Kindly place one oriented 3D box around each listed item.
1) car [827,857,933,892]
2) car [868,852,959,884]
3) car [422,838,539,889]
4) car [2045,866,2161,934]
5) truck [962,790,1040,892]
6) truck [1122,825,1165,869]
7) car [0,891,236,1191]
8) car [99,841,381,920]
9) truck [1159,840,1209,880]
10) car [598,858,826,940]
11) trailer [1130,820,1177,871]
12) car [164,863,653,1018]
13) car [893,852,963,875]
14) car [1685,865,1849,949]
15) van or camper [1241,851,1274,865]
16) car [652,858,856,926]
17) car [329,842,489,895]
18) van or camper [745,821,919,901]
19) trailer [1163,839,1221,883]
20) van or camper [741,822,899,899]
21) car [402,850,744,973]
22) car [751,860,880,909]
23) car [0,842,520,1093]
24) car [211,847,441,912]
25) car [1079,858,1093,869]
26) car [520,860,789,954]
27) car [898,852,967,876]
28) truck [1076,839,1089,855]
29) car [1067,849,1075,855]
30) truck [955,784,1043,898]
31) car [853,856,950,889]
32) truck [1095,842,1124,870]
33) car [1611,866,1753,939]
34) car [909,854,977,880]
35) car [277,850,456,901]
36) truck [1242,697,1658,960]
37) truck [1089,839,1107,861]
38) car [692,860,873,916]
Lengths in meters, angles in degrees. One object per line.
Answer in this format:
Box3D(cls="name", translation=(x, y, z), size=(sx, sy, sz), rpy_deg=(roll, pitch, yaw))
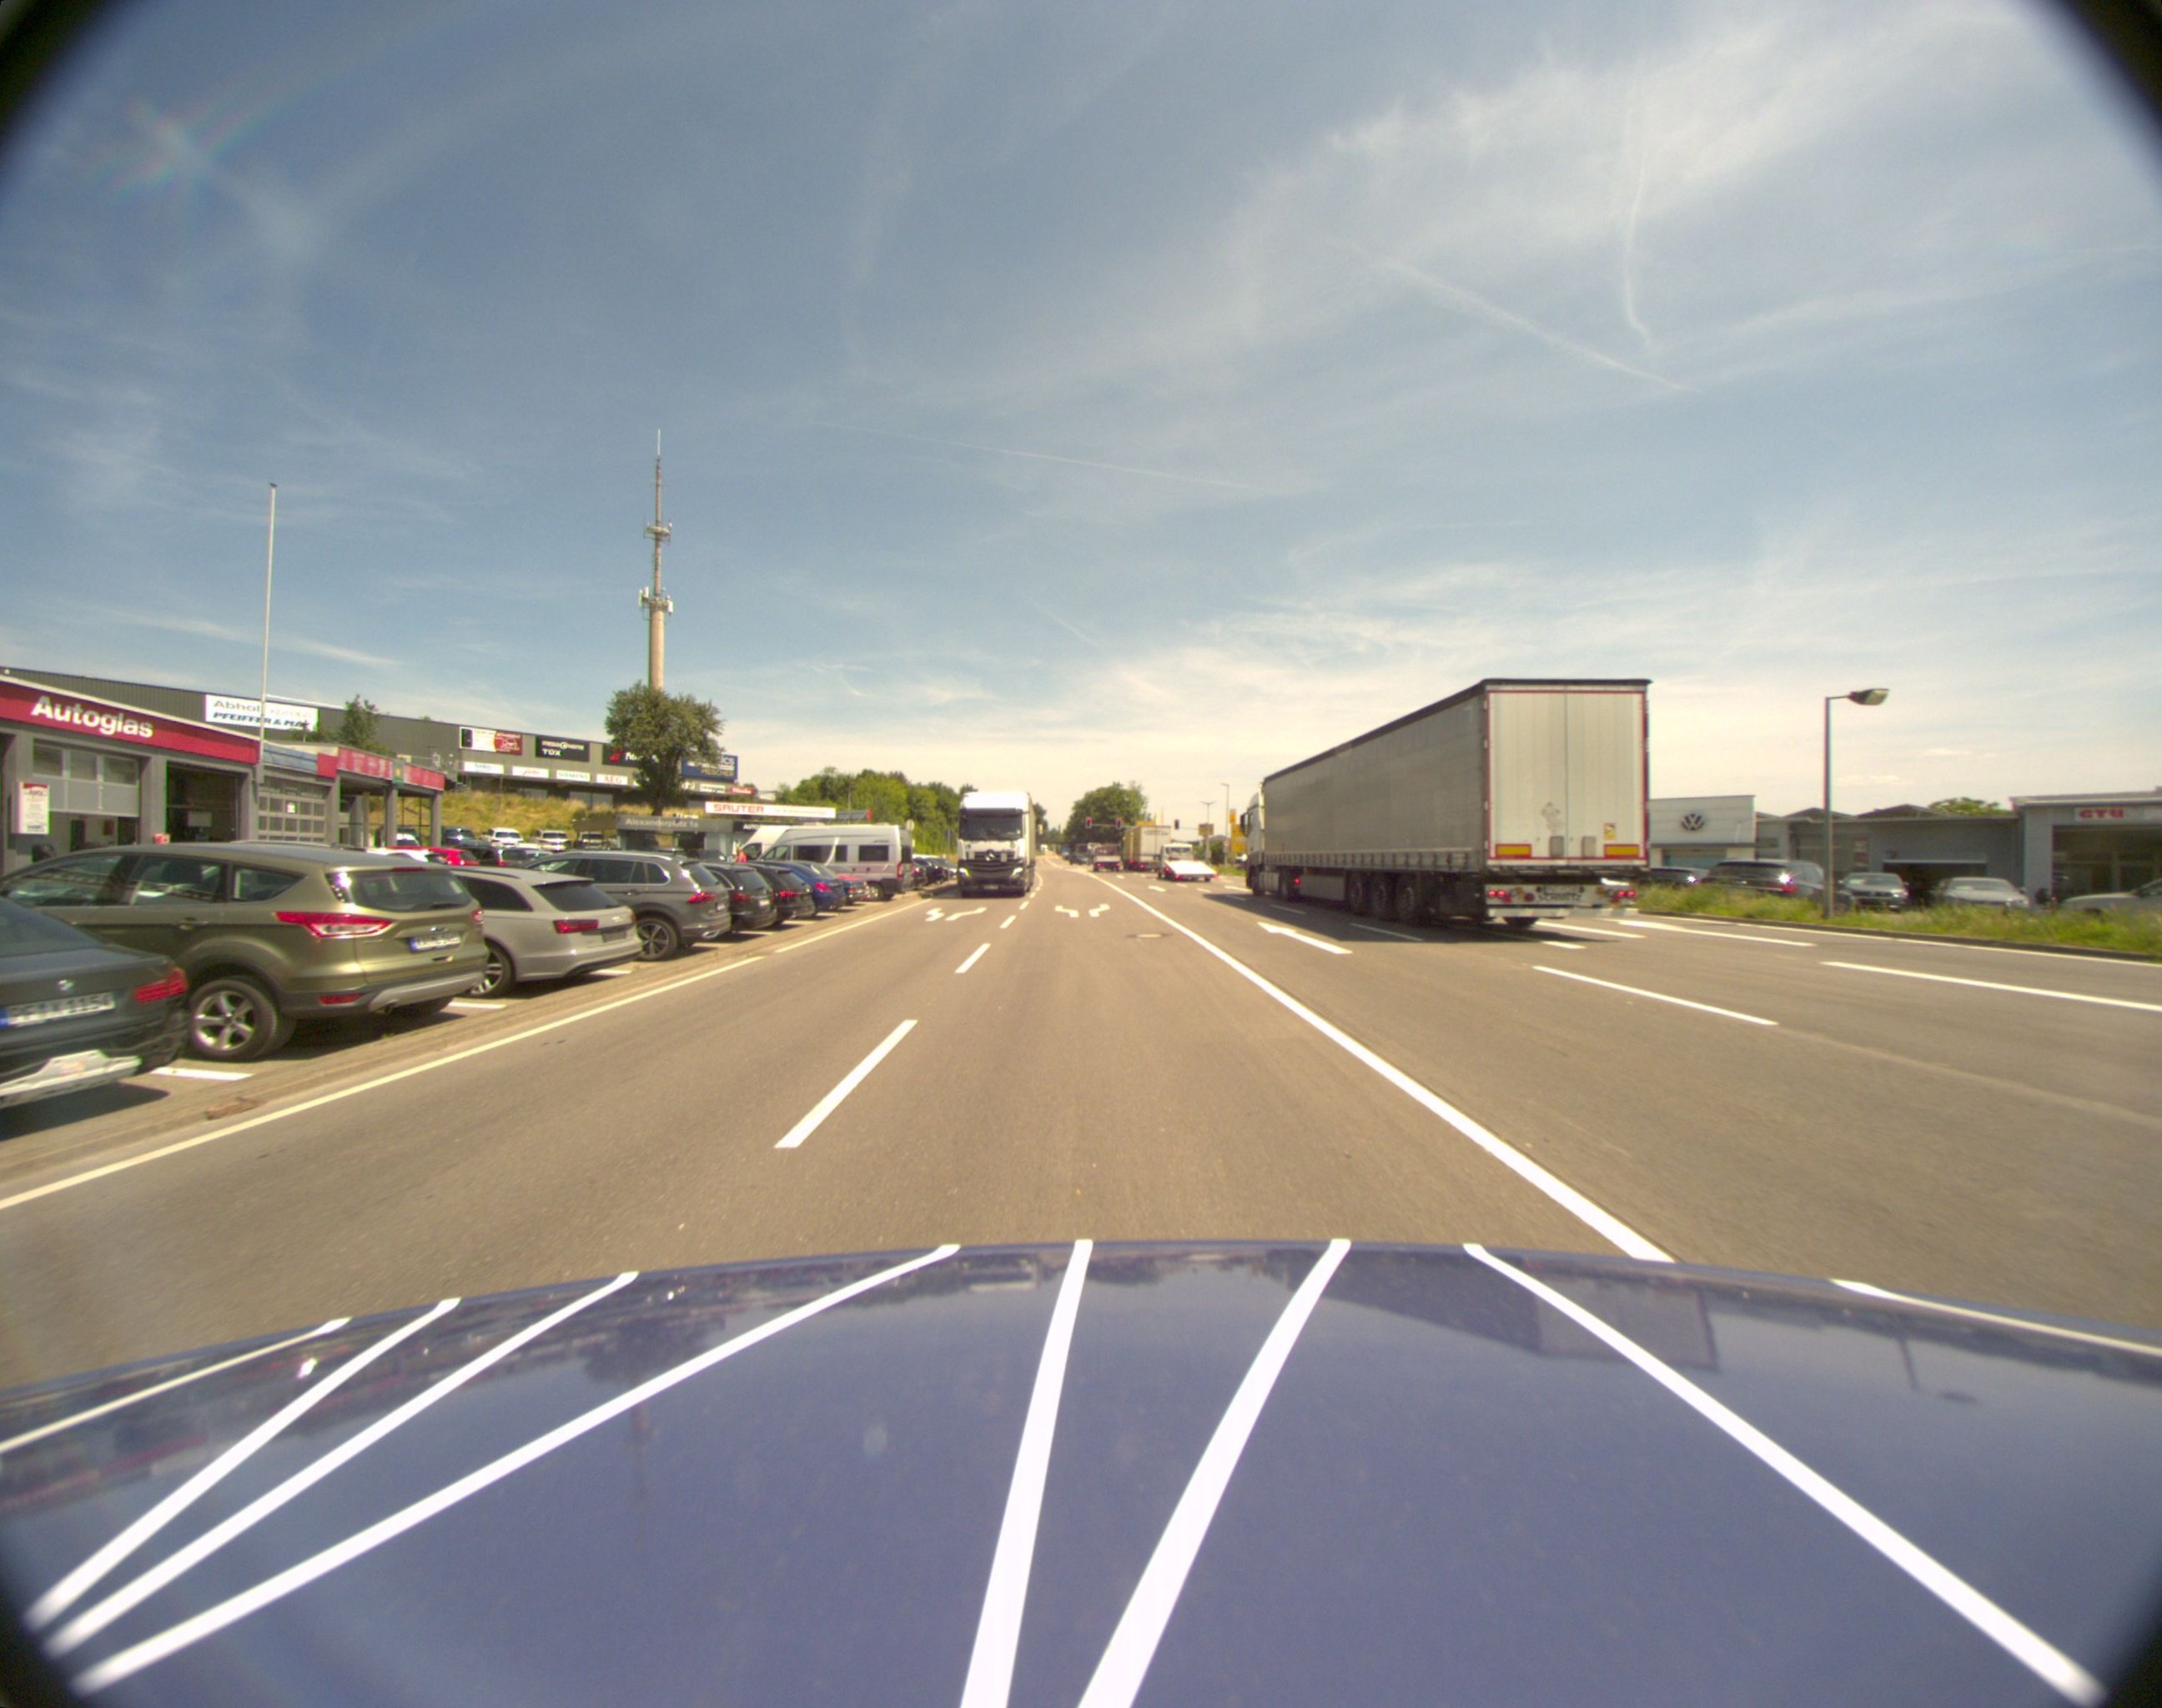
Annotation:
Box3D(cls="car", translation=(-9.115, 0.916, 34.775), size=(4.338, 1.490, 2.080), rpy_deg=(-1, 0, -4))
Box3D(cls="car", translation=(-8.950, 0.743, 40.725), size=(4.347, 1.615, 2.057), rpy_deg=(1, 0, -29))
Box3D(cls="car", translation=(-25.944, 0.400, 32.919), size=(3.596, 1.575, 1.674), rpy_deg=(5, 14, 3))
Box3D(cls="car", translation=(25.170, 1.047, 16.780), size=(1.999, 1.455, 4.457), rpy_deg=(-1, 0, -3))
Box3D(cls="truck", translation=(-3.760, -0.509, 37.422), size=(2.982, 3.986, 14.116), rpy_deg=(2, 0, -5))
Box3D(cls="truck", translation=(6.042, -0.671, 75.271), size=(3.037, 4.081, 10.352), rpy_deg=(0, 0, -2))
Box3D(cls="car", translation=(-7.659, 0.973, 4.282), size=(3.536, 1.469, 1.832), rpy_deg=(5, 0, -3))
Box3D(cls="car", translation=(-19.335, 0.571, 17.752), size=(4.005, 1.678, 1.851), rpy_deg=(0, 0, -24))
Box3D(cls="truck", translation=(6.481, 0.372, 48.436), size=(2.431, 2.327, 5.675), rpy_deg=(2, 0, 1))
Box3D(cls="car", translation=(-8.015, 0.952, 16.848), size=(4.022, 1.473, 1.978), rpy_deg=(3, 0, -4))
Box3D(cls="trailer", translation=(6.387, -0.708, 68.382), size=(3.019, 4.262, 10.056), rpy_deg=(0, 0, -1))
Box3D(cls="car", translation=(-7.833, 0.970, 9.223), size=(4.147, 1.414, 1.792), rpy_deg=(4, 0, -4))
Box3D(cls="car", translation=(-11.503, 0.753, 57.397), size=(4.750, 1.543, 1.994), rpy_deg=(3, -1, -42))
Box3D(cls="car", translation=(15.582, 1.104, 17.228), size=(3.875, 1.677, 1.796), rpy_deg=(0, 0, -33))
Box3D(cls="van or camper", translation=(31.423, 0.674, 135.316), size=(5.468, 2.398, 2.096), rpy_deg=(0, 0, -6))
Box3D(cls="car", translation=(-8.256, 0.931, 19.540), size=(4.277, 1.405, 2.162), rpy_deg=(3, 0, -4))
Box3D(cls="car", translation=(-22.582, 0.434, 25.726), size=(3.604, 1.443, 1.672), rpy_deg=(-1, 9, -22))
Box3D(cls="van or camper", translation=(-8.845, 0.242, 27.369), size=(5.489, 2.714, 2.232), rpy_deg=(0, 0, 0))
Box3D(cls="trailer", translation=(6.416, 0.376, 44.728), size=(2.434, 2.325, 6.896), rpy_deg=(2, 0, 1))
Box3D(cls="van or camper", translation=(-10.111, 0.246, 29.769), size=(5.382, 2.888, 2.232), rpy_deg=(0, 0, 0))
Box3D(cls="car", translation=(-7.856, 0.884, 12.275), size=(4.026, 1.664, 2.198), rpy_deg=(3, 0, -15))
Box3D(cls="car", translation=(-8.559, 0.954, 24.687), size=(3.550, 1.485, 1.756), rpy_deg=(1, 0, -1))
Box3D(cls="car", translation=(-7.728, 0.870, 6.800), size=(3.865, 1.681, 1.943), rpy_deg=(4, 0, -1))
Box3D(cls="car", translation=(-20.361, 0.679, 20.710), size=(4.003, 1.564, 1.852), rpy_deg=(2, 0, -16))
Box3D(cls="car", translation=(0.671, 1.471, 115.813), size=(1.929, 1.601, 4.508), rpy_deg=(0, 1, -2))
Box3D(cls="car", translation=(-8.059, 0.973, 14.716), size=(4.022, 1.473, 1.978), rpy_deg=(3, 0, -4))
Box3D(cls="car", translation=(-10.668, 0.737, 54.682), size=(4.486, 1.400, 1.741), rpy_deg=(5, -2, -34))
Box3D(cls="truck", translation=(0.403, -1.665, 193.553), size=(2.852, 3.932, 17.084), rpy_deg=(-1, 0, -1))
Box3D(cls="car", translation=(-2.421, -0.486, 179.888), size=(1.688, 1.420, 4.152), rpy_deg=(2, 1, -2))
Box3D(cls="truck", translation=(-3.174, -0.455, 30.186), size=(2.982, 3.986, 6.324), rpy_deg=(2, 0, -5))
Box3D(cls="car", translation=(-8.765, 0.889, 37.494), size=(4.338, 1.490, 2.080), rpy_deg=(-1, 0, -4))
Box3D(cls="truck", translation=(2.522, 0.142, 69.031), size=(2.402, 2.430, 6.871), rpy_deg=(-1, 1, 0))
Box3D(cls="car", translation=(16.064, 1.216, 20.267), size=(3.875, 1.739, 1.796), rpy_deg=(0, 0, -33))
Box3D(cls="car", translation=(-9.357, 0.847, 51.126), size=(4.918, 1.379, 1.932), rpy_deg=(4, 2, 44))
Box3D(cls="car", translation=(-21.753, 0.618, 23.327), size=(3.604, 1.366, 1.674), rpy_deg=(-2, 0, -24))
Box3D(cls="truck", translation=(7.267, -0.459, 19.593), size=(2.797, 3.866, 16.480), rpy_deg=(-1, 1, 0))
Box3D(cls="truck", translation=(3.084, -0.728, 145.506), size=(2.612, 3.995, 15.127), rpy_deg=(-1, 0, -2))
Box3D(cls="car", translation=(-8.548, 0.956, 22.027), size=(4.526, 1.510, 1.782), rpy_deg=(0, 1, -1))
